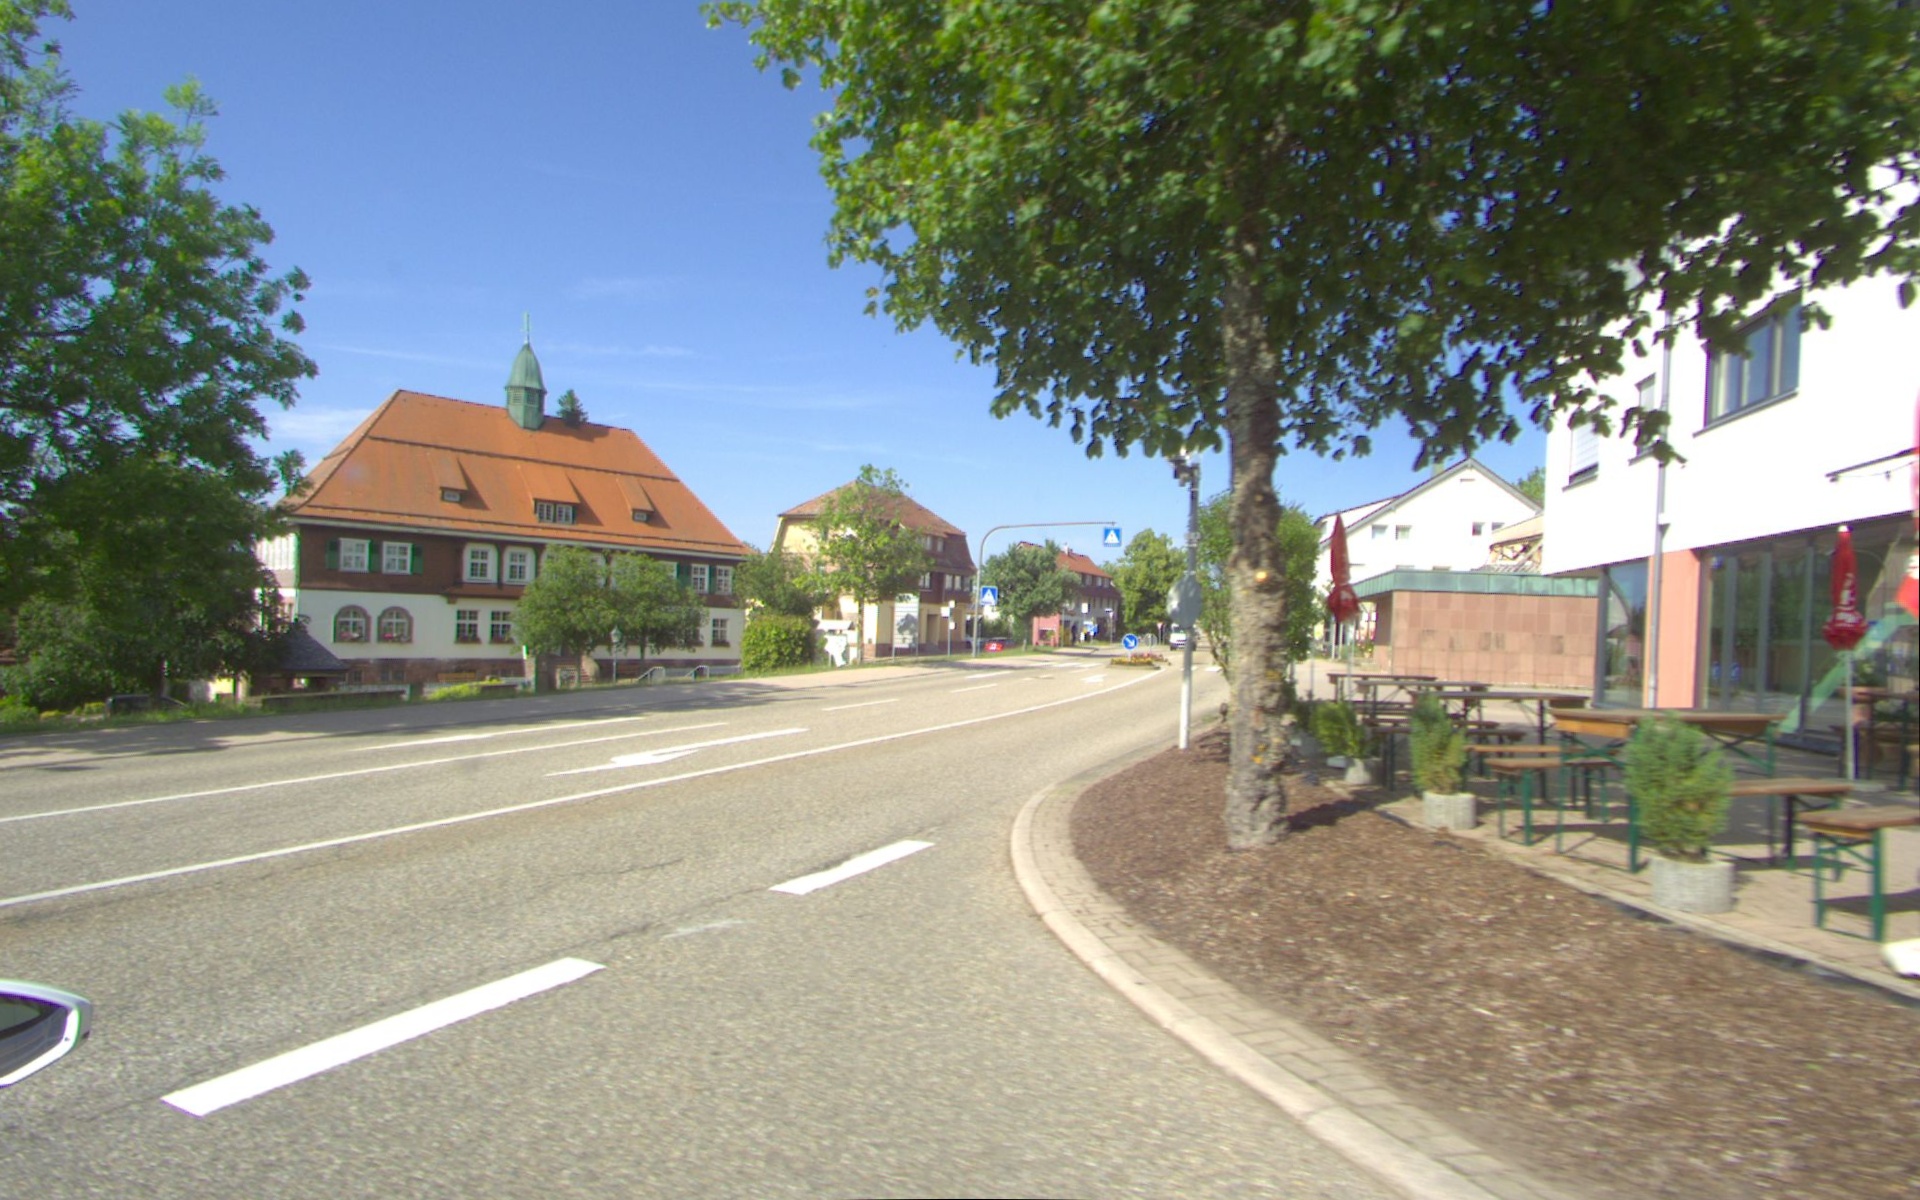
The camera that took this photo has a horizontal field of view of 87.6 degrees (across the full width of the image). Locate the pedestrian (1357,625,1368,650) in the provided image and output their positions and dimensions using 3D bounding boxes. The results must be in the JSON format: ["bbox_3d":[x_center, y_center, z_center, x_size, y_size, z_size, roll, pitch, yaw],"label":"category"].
[{"bbox_3d":[25.576,2.380,63.605,0.558,1.613,0.484,-2,-1,16],"label":"pedestrian"}]

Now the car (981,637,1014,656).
[{"bbox_3d":[3.092,3.764,81.720,1.745,1.451,3.709,-2,-2,18],"label":"car"}]

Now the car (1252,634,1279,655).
[{"bbox_3d":[21.610,3.135,70.823,1.744,1.451,3.710,-2,-2,17],"label":"car"}]

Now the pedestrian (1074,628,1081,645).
[{"bbox_3d":[12.529,3.890,106.806,0.489,1.771,0.587,-2,-1,31],"label":"pedestrian"}]

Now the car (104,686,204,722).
[{"bbox_3d":[-40.268,5.168,50.086,1.697,1.463,3.750,-3,-2,45],"label":"car"}]

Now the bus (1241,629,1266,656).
[{"bbox_3d":[35.747,5.268,122.359,2.667,3.051,15.217,0,-3,15],"label":"bus"}]

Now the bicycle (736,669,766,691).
[{"bbox_3d":[-12.251,4.695,58.762,0.532,1.205,1.715,-2,-2,40],"label":"bicycle"}]

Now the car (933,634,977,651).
[{"bbox_3d":[-0.462,3.888,92.152,3.649,1.451,1.773,-3,-2,20],"label":"car"}]

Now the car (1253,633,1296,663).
[{"bbox_3d":[16.605,2.541,52.953,1.743,1.486,3.713,-2,-2,12],"label":"car"}]

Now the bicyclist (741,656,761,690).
[{"bbox_3d":[-12.245,4.250,58.778,0.575,1.949,0.990,-2,-2,40],"label":"bicyclist"}]

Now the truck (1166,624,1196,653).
[{"bbox_3d":[19.170,3.264,86.569,1.964,2.372,6.486,1,-1,17],"label":"truck"}]
